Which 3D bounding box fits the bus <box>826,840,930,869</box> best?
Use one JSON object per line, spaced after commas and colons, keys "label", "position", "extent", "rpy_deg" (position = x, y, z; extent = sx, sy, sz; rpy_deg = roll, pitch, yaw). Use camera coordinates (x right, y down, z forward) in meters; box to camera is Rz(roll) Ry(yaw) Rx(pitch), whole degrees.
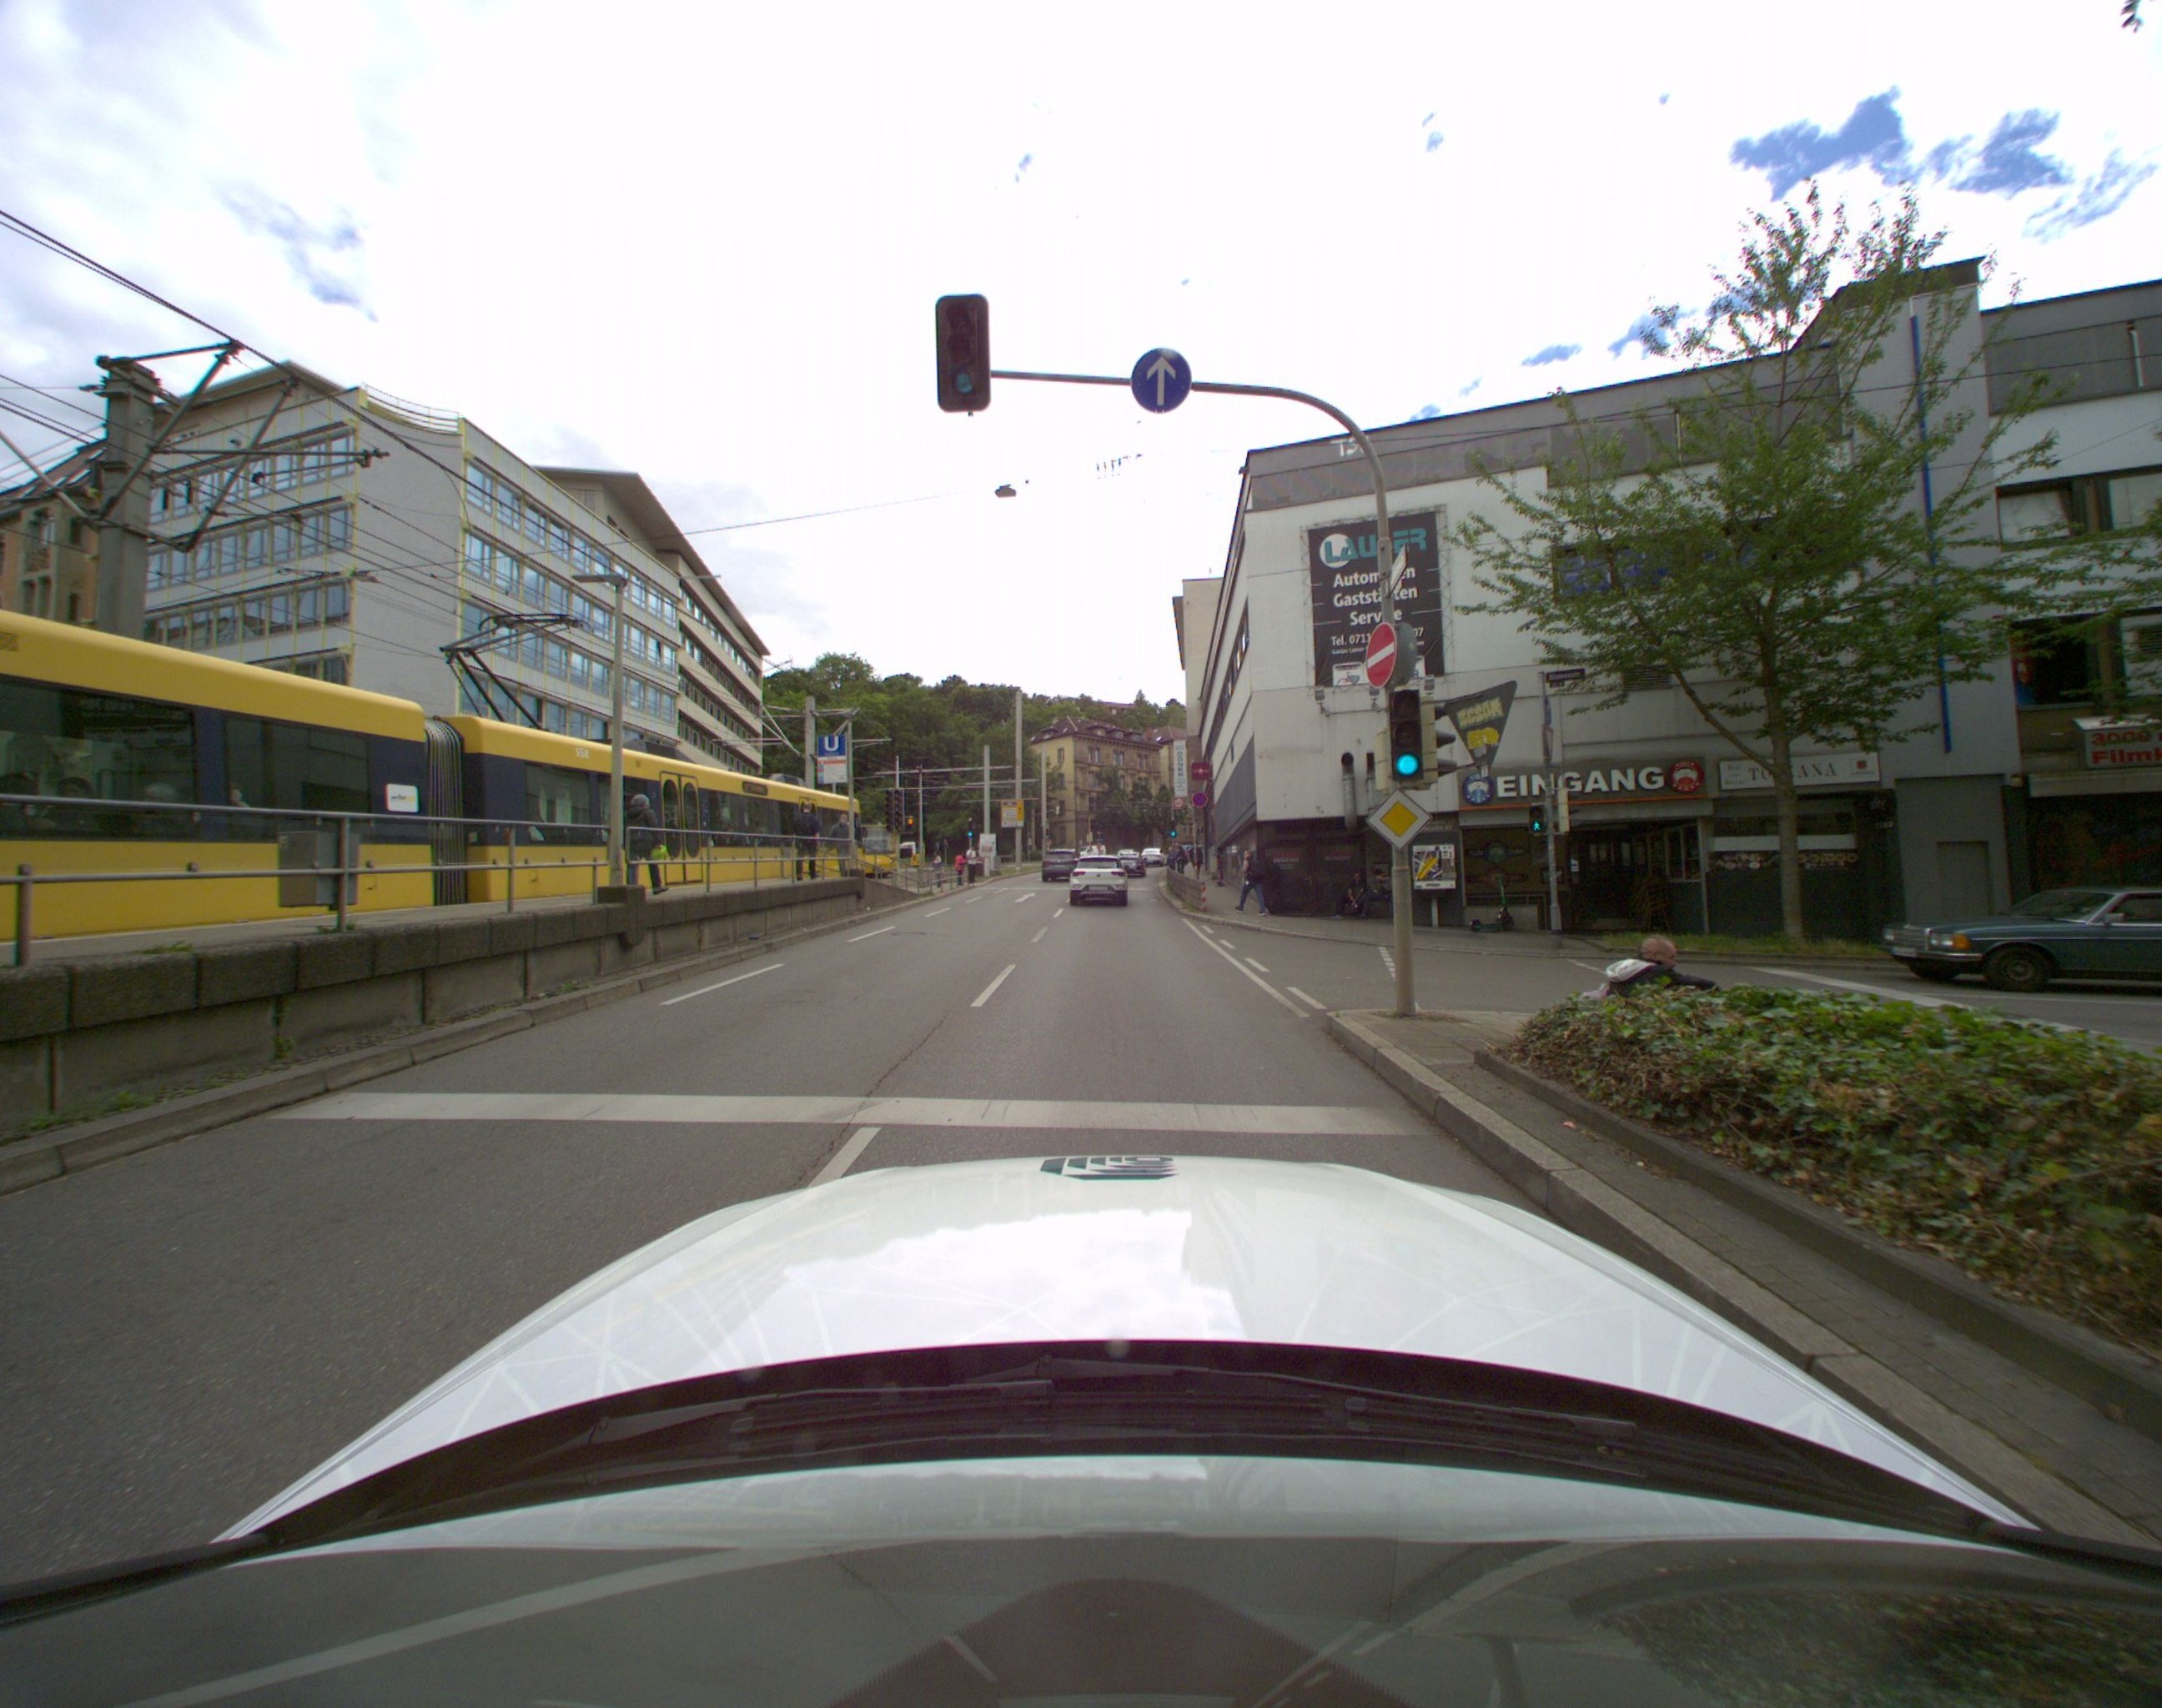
{"label": "bus", "position": [-23.688, 0.067, 95.114], "extent": [11.424, 3.029, 3.404], "rpy_deg": [-2, 0, 15]}

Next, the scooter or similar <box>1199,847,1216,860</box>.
{"label": "scooter or similar", "position": [11.424, -0.030, 73.479], "extent": [1.446, 1.182, 0.578], "rpy_deg": [-2, 0, -22]}

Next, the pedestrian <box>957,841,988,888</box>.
{"label": "pedestrian", "position": [-4.928, 0.505, 37.122], "extent": [0.957, 2.067, 1.037], "rpy_deg": [-3, -4, 21]}

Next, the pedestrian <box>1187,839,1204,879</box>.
{"label": "pedestrian", "position": [5.241, 0.230, 37.292], "extent": [0.723, 1.808, 0.655], "rpy_deg": [0, 0, 6]}

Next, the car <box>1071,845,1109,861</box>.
{"label": "car", "position": [1.230, -0.140, 105.350], "extent": [1.975, 1.850, 5.021], "rpy_deg": [-2, -3, 44]}

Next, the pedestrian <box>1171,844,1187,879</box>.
{"label": "pedestrian", "position": [4.784, 0.358, 39.851], "extent": [0.559, 1.651, 0.592], "rpy_deg": [-7, 0, 5]}

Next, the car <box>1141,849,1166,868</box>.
{"label": "car", "position": [5.806, 0.332, 65.796], "extent": [1.929, 1.506, 3.810], "rpy_deg": [-1, 0, 4]}

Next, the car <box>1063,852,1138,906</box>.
{"label": "car", "position": [0.715, 0.730, 26.010], "extent": [1.927, 1.566, 4.055], "rpy_deg": [-1, 0, 7]}

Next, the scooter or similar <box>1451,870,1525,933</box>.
{"label": "scooter or similar", "position": [9.252, 1.081, 18.518], "extent": [1.387, 1.349, 0.595], "rpy_deg": [3, -1, -11]}

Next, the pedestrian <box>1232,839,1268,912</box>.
{"label": "pedestrian", "position": [4.264, 0.535, 20.574], "extent": [0.718, 1.786, 0.883], "rpy_deg": [0, 0, -1]}

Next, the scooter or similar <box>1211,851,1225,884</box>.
{"label": "scooter or similar", "position": [5.523, 0.546, 32.847], "extent": [0.424, 1.276, 0.984], "rpy_deg": [-1, 0, 16]}

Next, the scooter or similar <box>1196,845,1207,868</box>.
{"label": "scooter or similar", "position": [8.142, 0.169, 55.034], "extent": [0.664, 1.475, 1.181], "rpy_deg": [-1, 0, 9]}

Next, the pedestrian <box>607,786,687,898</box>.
{"label": "pedestrian", "position": [-6.416, -0.173, 12.066], "extent": [0.775, 1.584, 0.665], "rpy_deg": [-2, 0, 1]}

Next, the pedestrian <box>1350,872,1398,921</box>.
{"label": "pedestrian", "position": [7.412, 1.055, 20.616], "extent": [1.097, 1.188, 0.746], "rpy_deg": [0, 0, 19]}

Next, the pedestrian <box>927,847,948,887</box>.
{"label": "pedestrian", "position": [-6.034, 0.539, 34.260], "extent": [0.673, 1.625, 1.001], "rpy_deg": [-2, 0, 1]}

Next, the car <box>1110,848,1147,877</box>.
{"label": "car", "position": [2.764, 0.467, 46.702], "extent": [1.893, 1.574, 3.841], "rpy_deg": [0, 0, 6]}

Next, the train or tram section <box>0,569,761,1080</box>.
{"label": "train or tram section", "position": [-9.083, -0.278, 11.744], "extent": [2.872, 3.663, 14.233], "rpy_deg": [-4, 1, 1]}

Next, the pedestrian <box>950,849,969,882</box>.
{"label": "pedestrian", "position": [-5.630, 0.542, 37.672], "extent": [0.571, 1.464, 0.679], "rpy_deg": [-3, -4, 21]}

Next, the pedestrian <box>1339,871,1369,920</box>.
{"label": "pedestrian", "position": [7.237, 1.092, 21.565], "extent": [0.728, 1.236, 0.721], "rpy_deg": [0, 0, 18]}

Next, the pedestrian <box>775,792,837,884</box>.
{"label": "pedestrian", "position": [-6.202, -0.332, 18.430], "extent": [0.926, 1.970, 1.234], "rpy_deg": [-2, -3, 2]}

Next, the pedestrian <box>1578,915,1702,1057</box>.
{"label": "pedestrian", "position": [3.900, 0.897, 5.714], "extent": [0.481, 0.910, 0.584], "rpy_deg": [0, -3, 5]}

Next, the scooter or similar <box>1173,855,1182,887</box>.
{"label": "scooter or similar", "position": [3.970, 0.689, 33.584], "extent": [0.352, 1.276, 0.814], "rpy_deg": [0, 0, 5]}

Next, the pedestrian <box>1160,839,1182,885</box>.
{"label": "pedestrian", "position": [4.107, 0.363, 37.293], "extent": [0.942, 2.062, 0.780], "rpy_deg": [1, 0, 6]}

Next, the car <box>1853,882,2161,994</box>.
{"label": "car", "position": [13.656, 1.075, 10.871], "extent": [4.542, 1.357, 1.769], "rpy_deg": [0, -2, 17]}

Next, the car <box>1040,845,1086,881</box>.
{"label": "car", "position": [-0.876, 0.447, 42.176], "extent": [1.830, 1.739, 4.007], "rpy_deg": [1, 0, 6]}

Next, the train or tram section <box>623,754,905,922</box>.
{"label": "train or tram section", "position": [-8.851, -0.538, 25.954], "extent": [2.872, 3.663, 14.479], "rpy_deg": [-4, 1, 1]}

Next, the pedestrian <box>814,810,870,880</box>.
{"label": "pedestrian", "position": [-6.150, -0.209, 21.039], "extent": [1.112, 1.680, 1.041], "rpy_deg": [-2, -5, 1]}

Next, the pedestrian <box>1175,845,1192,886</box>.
{"label": "pedestrian", "position": [4.533, 0.493, 35.942], "extent": [0.734, 1.793, 0.656], "rpy_deg": [0, 0, 6]}
